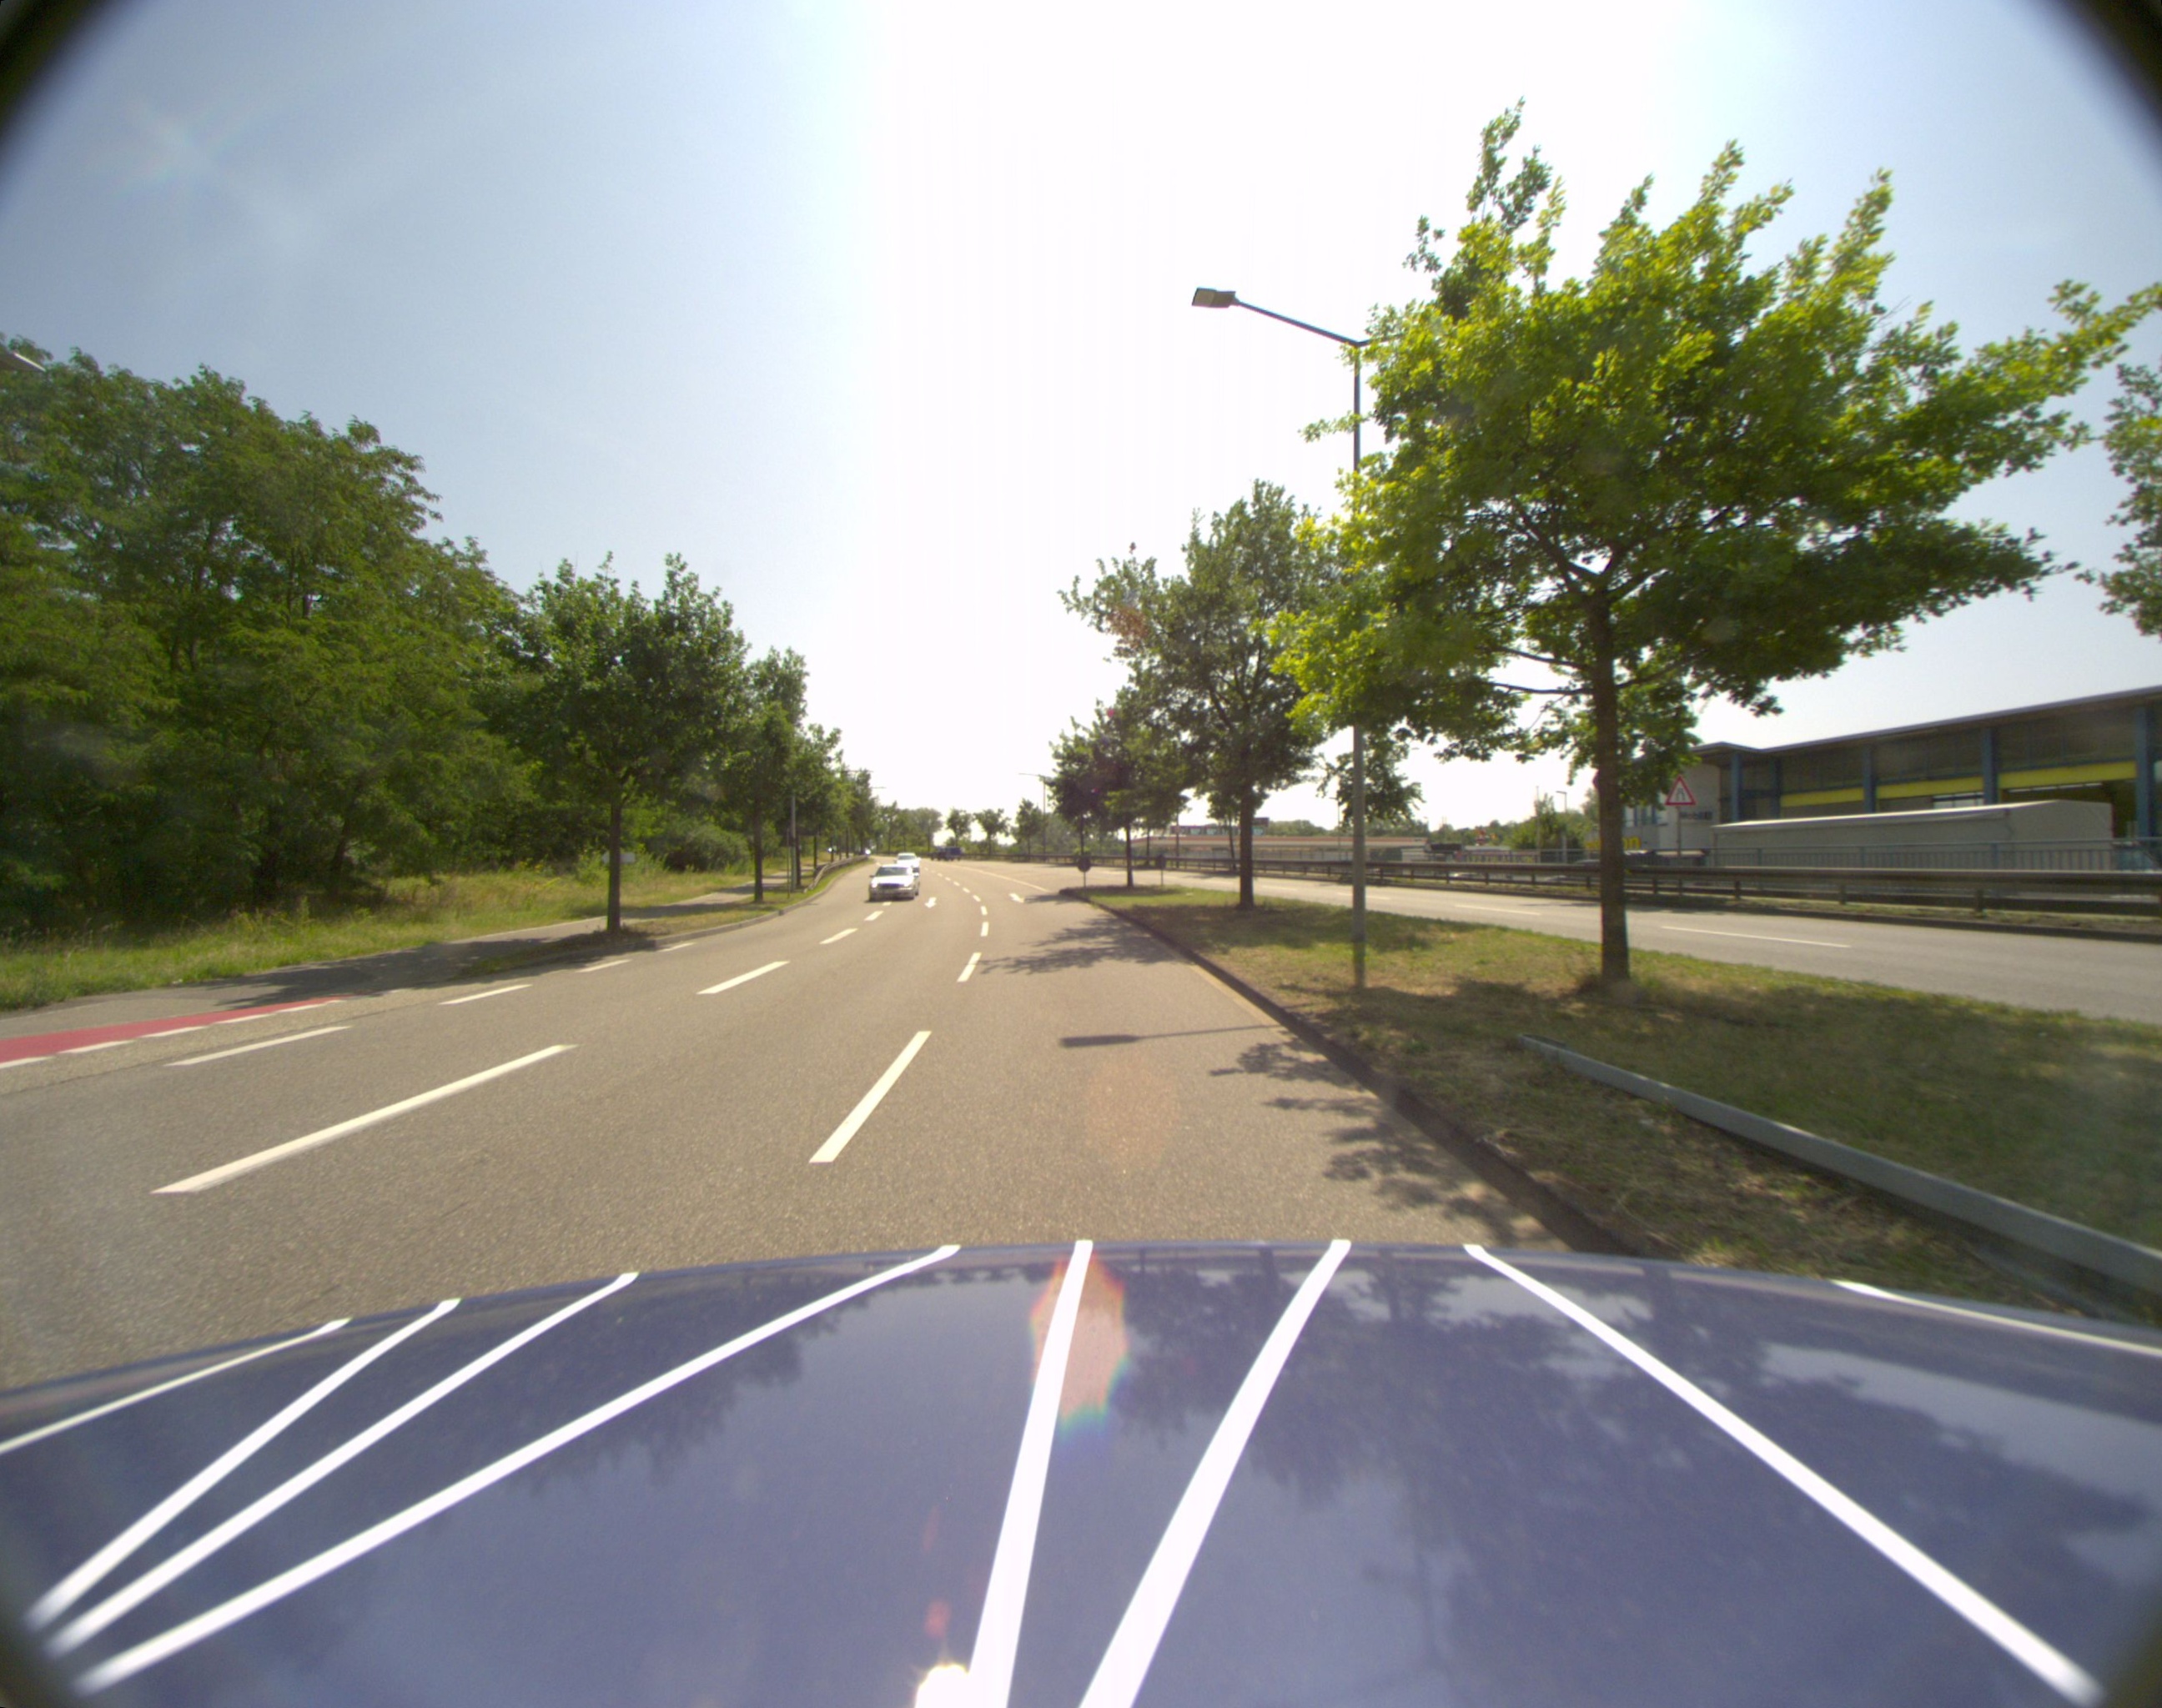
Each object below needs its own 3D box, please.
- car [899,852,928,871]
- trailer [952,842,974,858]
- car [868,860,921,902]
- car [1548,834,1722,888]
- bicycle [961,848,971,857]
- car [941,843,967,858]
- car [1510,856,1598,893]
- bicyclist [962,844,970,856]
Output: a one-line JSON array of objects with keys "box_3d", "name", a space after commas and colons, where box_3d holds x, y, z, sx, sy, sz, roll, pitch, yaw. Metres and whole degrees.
[{"box_3d": [-12.535, 0.556, 57.018, 2.000, 1.361, 4.229, -1, 0, -11], "name": "car"}, {"box_3d": [-13.228, -0.431, 85.049, 1.512, 1.605, 3.302, -1, 0, -25], "name": "trailer"}, {"box_3d": [-7.526, 1.051, 31.027, 1.764, 1.490, 4.229, -1, 0, -9], "name": "car"}, {"box_3d": [17.764, 0.183, 24.707, 1.903, 1.560, 4.636, 1, 1, -6], "name": "car"}, {"box_3d": [-15.728, -0.242, 103.978, 0.738, 1.110, 2.041, 3, 0, -27], "name": "bicycle"}, {"box_3d": [-14.820, -0.367, 88.555, 1.923, 1.642, 4.399, -1, 0, -25], "name": "car"}, {"box_3d": [27.359, 1.141, 44.032, 4.000, 2.002, 1.998, -1, 1, -10], "name": "car"}, {"box_3d": [-15.678, -0.550, 103.899, 0.733, 1.457, 0.822, 3, 0, -29], "name": "bicyclist"}]
